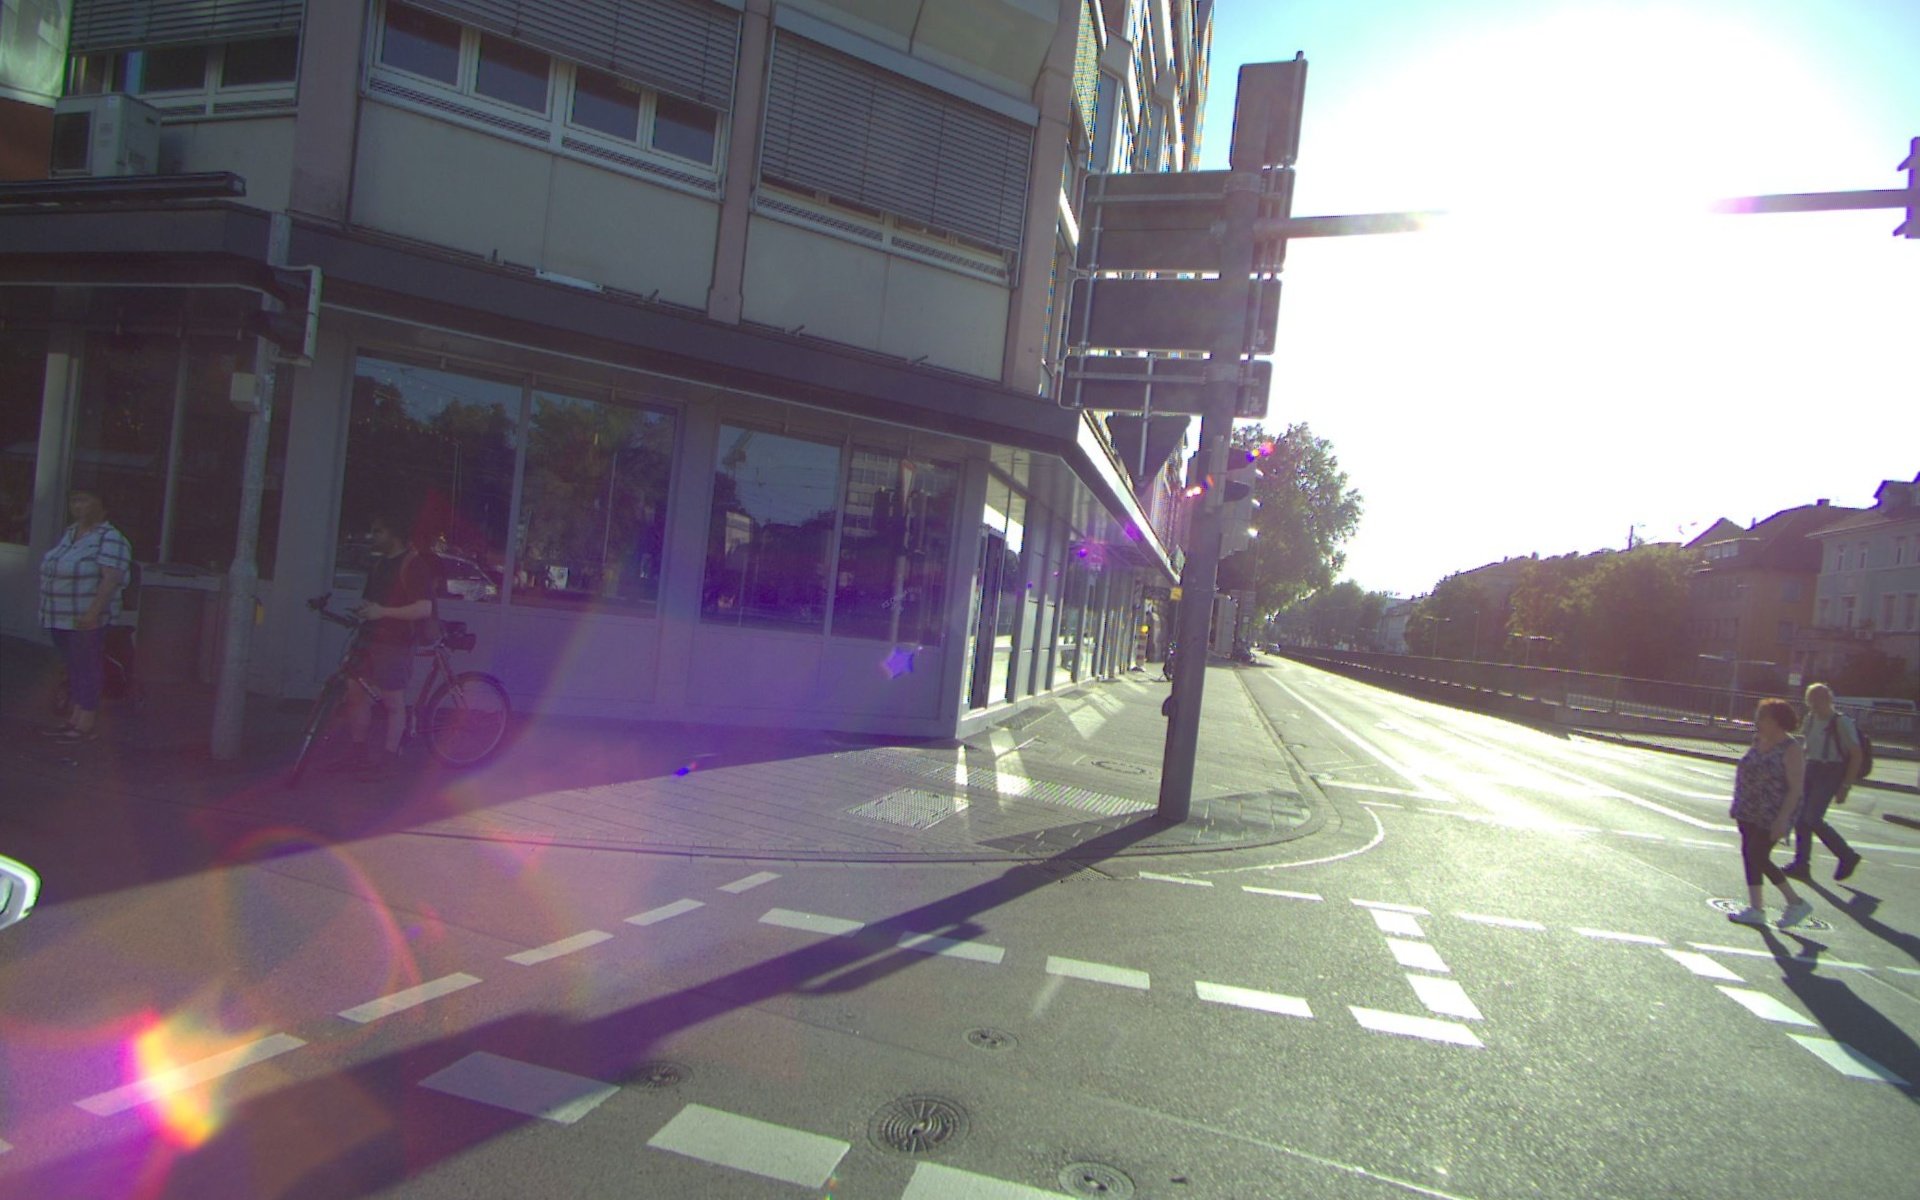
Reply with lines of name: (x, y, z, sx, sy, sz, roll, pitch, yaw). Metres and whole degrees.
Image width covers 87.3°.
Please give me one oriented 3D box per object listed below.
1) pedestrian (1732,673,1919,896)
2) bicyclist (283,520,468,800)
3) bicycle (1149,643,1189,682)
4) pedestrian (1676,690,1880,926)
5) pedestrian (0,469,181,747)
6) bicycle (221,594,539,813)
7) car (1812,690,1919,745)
pedestrian: (8.088, 1.645, 9.190, 1.175, 1.752, 0.856, 8, 1, 10)
bicyclist: (-3.709, 0.357, 6.411, 0.629, 1.618, 0.657, 8, 4, 17)
bicycle: (6.463, 1.936, 31.052, 0.445, 1.084, 2.088, 8, 0, 31)
pedestrian: (5.730, 1.429, 7.067, 0.843, 1.480, 0.685, 8, -4, -15)
pedestrian: (-5.794, 0.056, 6.633, 0.704, 1.683, 0.632, 6, 1, -10)
bicycle: (-3.685, 0.587, 6.587, 0.629, 1.160, 1.768, 8, 3, 17)
car: (46.937, 6.015, 52.069, 2.250, 2.198, 4.835, 8, 0, 16)
